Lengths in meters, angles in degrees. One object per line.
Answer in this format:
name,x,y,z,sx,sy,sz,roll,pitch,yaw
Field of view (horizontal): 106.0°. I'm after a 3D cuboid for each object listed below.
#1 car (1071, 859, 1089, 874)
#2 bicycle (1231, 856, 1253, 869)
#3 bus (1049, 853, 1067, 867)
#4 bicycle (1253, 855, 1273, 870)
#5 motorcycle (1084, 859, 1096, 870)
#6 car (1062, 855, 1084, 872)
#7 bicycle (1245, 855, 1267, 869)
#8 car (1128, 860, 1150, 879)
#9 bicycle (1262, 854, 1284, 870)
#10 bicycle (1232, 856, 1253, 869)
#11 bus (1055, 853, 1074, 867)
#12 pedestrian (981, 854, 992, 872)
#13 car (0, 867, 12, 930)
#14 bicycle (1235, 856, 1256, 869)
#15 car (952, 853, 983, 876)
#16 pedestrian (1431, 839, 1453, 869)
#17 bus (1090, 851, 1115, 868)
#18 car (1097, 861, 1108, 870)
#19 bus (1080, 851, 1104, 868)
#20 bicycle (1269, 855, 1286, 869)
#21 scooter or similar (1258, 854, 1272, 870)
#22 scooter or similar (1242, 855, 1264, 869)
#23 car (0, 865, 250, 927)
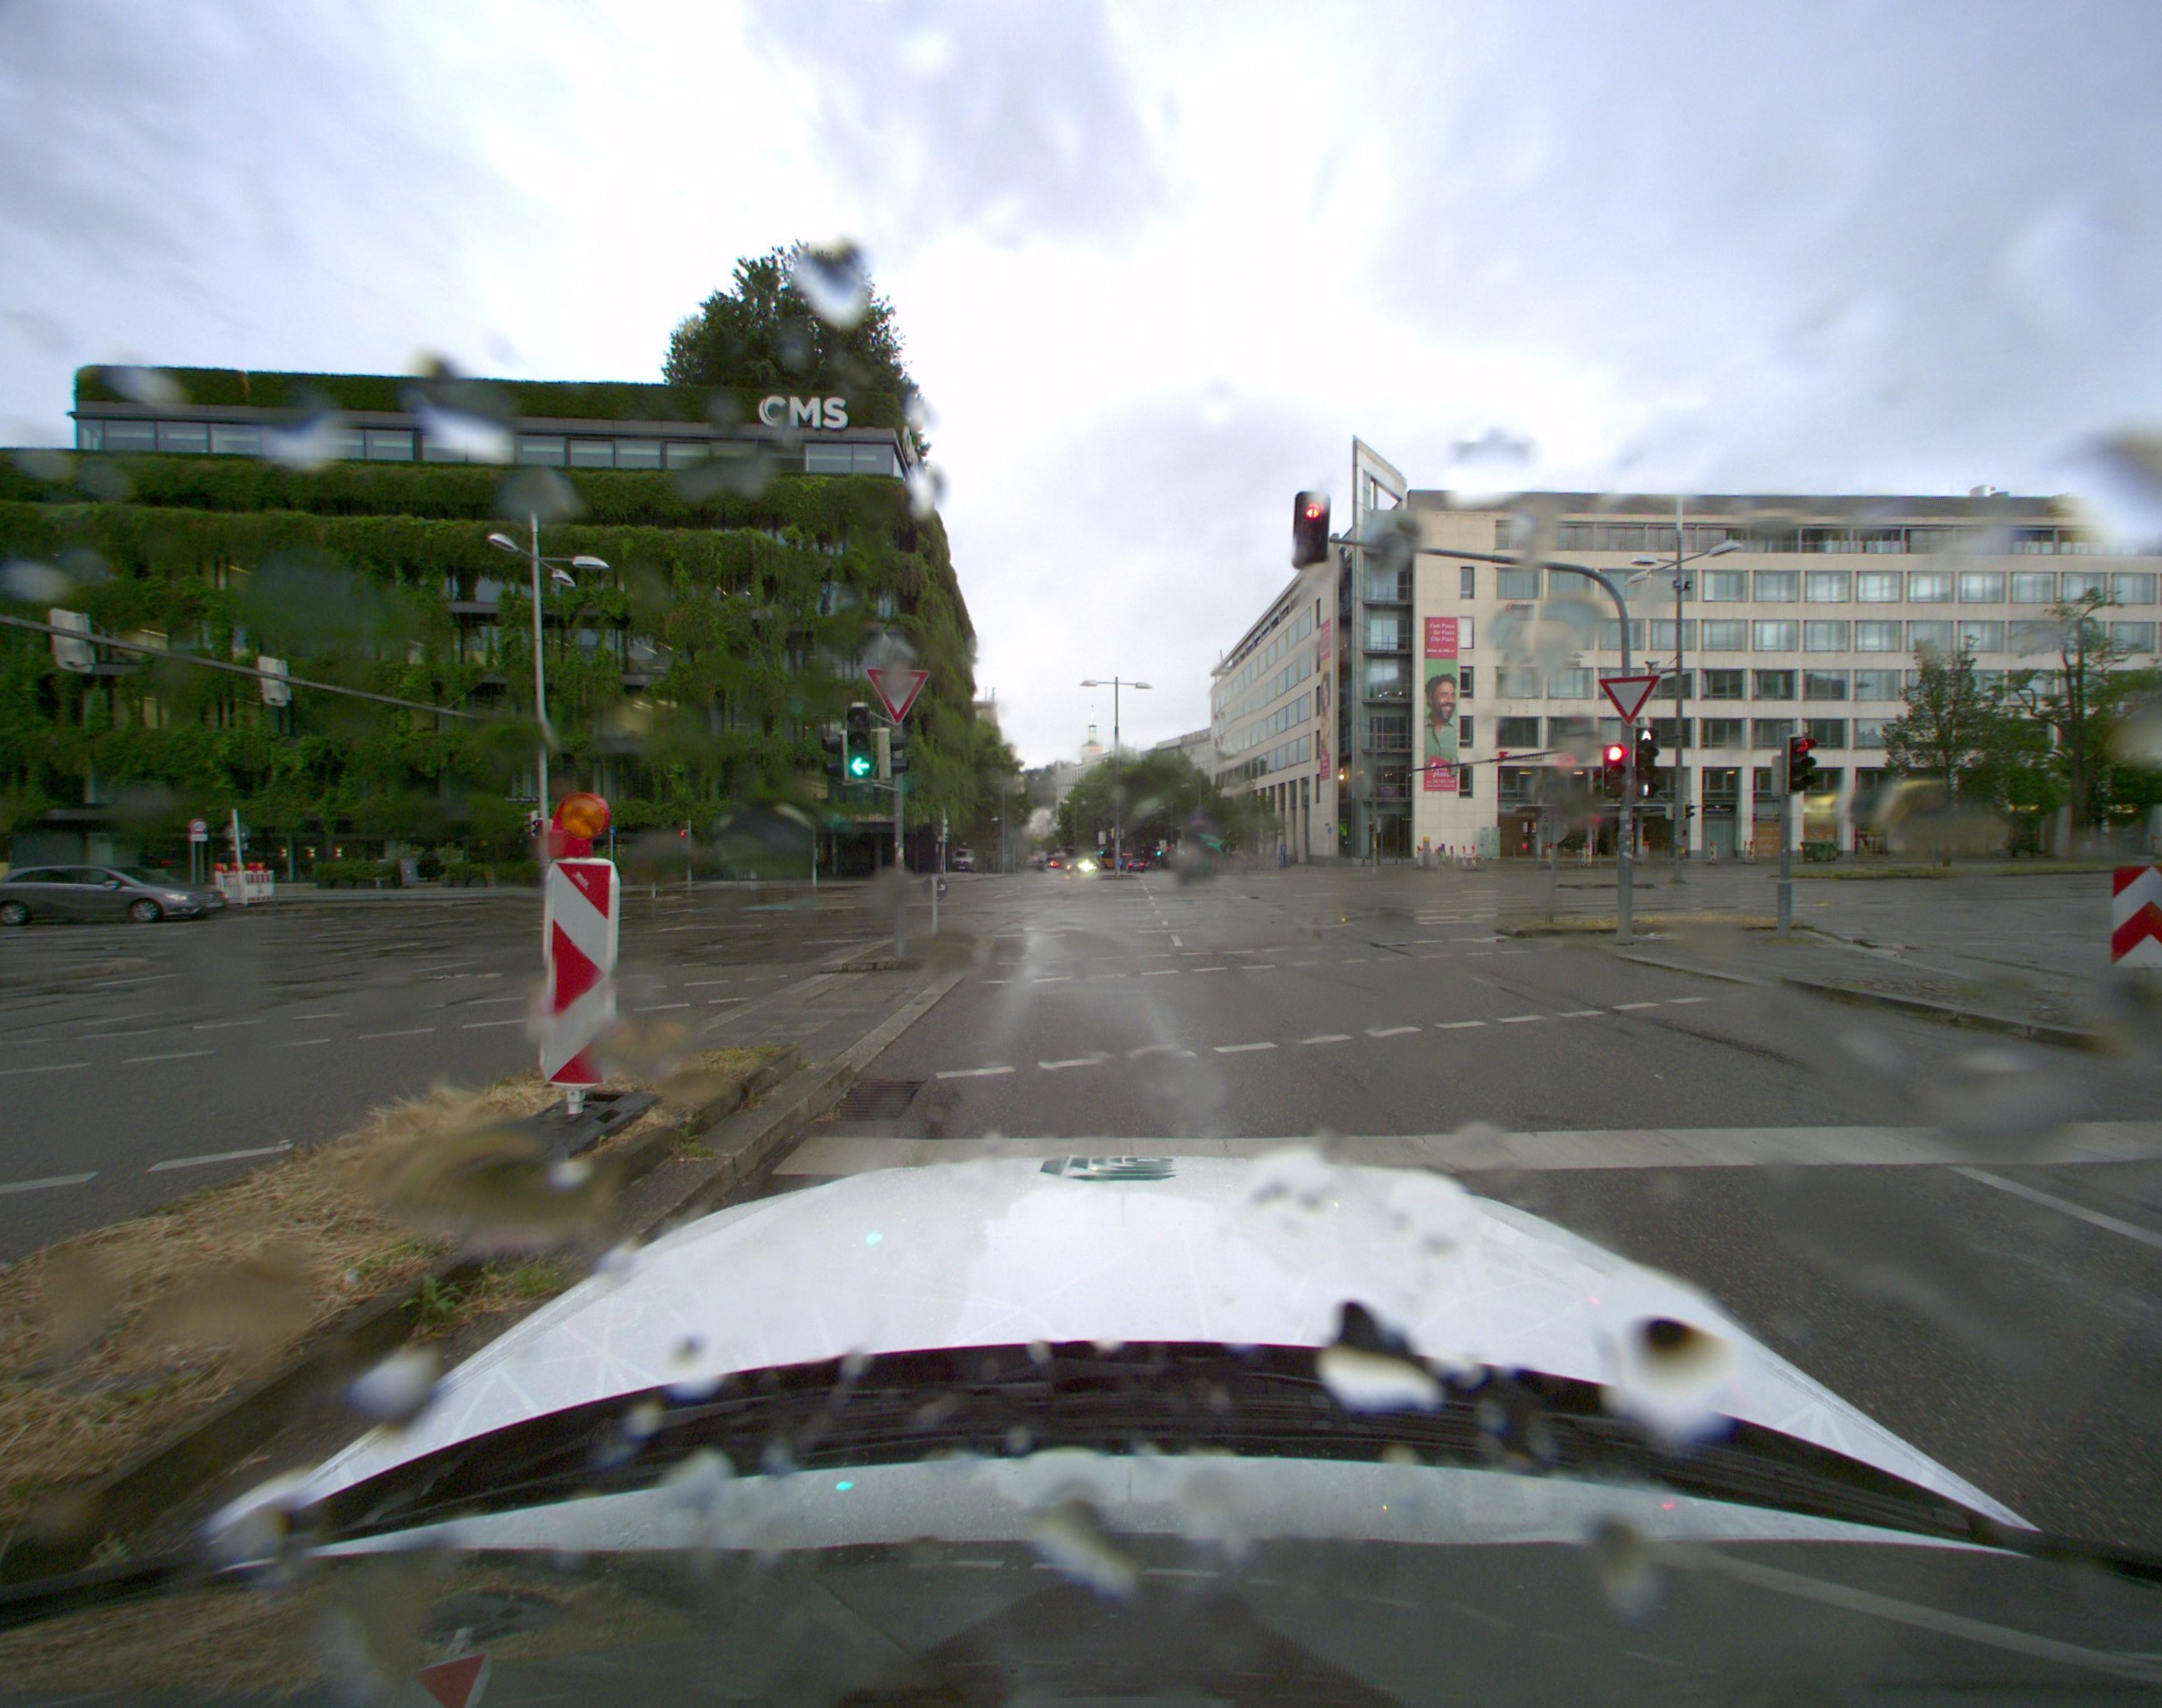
car,-0.144,1.596,103.055,2.158,1.765,5.109,0,-1,-1
bicycle,14.319,0.743,72.450,1.770,1.194,0.587,0,-1,3
bus,-5.185,1.299,180.566,2.631,2.995,7.415,-1,0,-13
bicycle,14.749,0.662,66.057,0.588,1.194,1.768,0,-1,-26
motorcycle,1.233,1.448,112.927,1.547,1.515,4.382,0,-1,-1
car,-0.825,0.989,84.100,2.158,1.765,5.109,0,-1,-1
bicycle,15.310,0.722,71.256,1.770,1.194,0.587,0,-1,3
car,6.292,1.694,87.896,1.532,2.014,4.687,-1,-1,15
bicycle,15.222,0.640,64.492,1.607,1.194,0.590,-1,-1,27
bicycle,14.495,0.750,73.080,1.770,1.194,0.587,0,-1,3
bus,-3.491,1.272,173.423,2.631,2.995,7.294,-1,0,-13
pedestrian,-8.622,0.819,74.385,0.930,1.644,0.774,0,-1,1
car,-27.335,1.085,18.167,3.981,1.475,1.996,-1,0,-6
bicycle,14.962,0.757,73.987,1.770,1.194,0.587,0,-1,3
car,-9.537,0.874,68.587,1.863,1.839,4.001,0,-1,2
pedestrian,21.807,-0.007,49.265,0.958,1.817,0.836,0,-1,1
bus,3.725,1.004,145.937,2.631,2.995,7.415,-1,0,-13
car,3.596,1.875,134.686,1.775,1.508,4.001,0,-1,2
bus,2.034,1.063,153.130,2.631,2.995,7.415,-1,0,-13
bicycle,16.072,0.659,66.582,0.579,1.194,1.794,-1,-1,40
scooter or similar,14.440,0.637,63.826,0.951,1.194,0.458,-1,-1,42
scooter or similar,14.930,0.717,70.642,1.770,1.194,0.587,0,-1,3
car,-26.116,1.082,21.923,4.901,1.488,1.924,-1,0,-15
